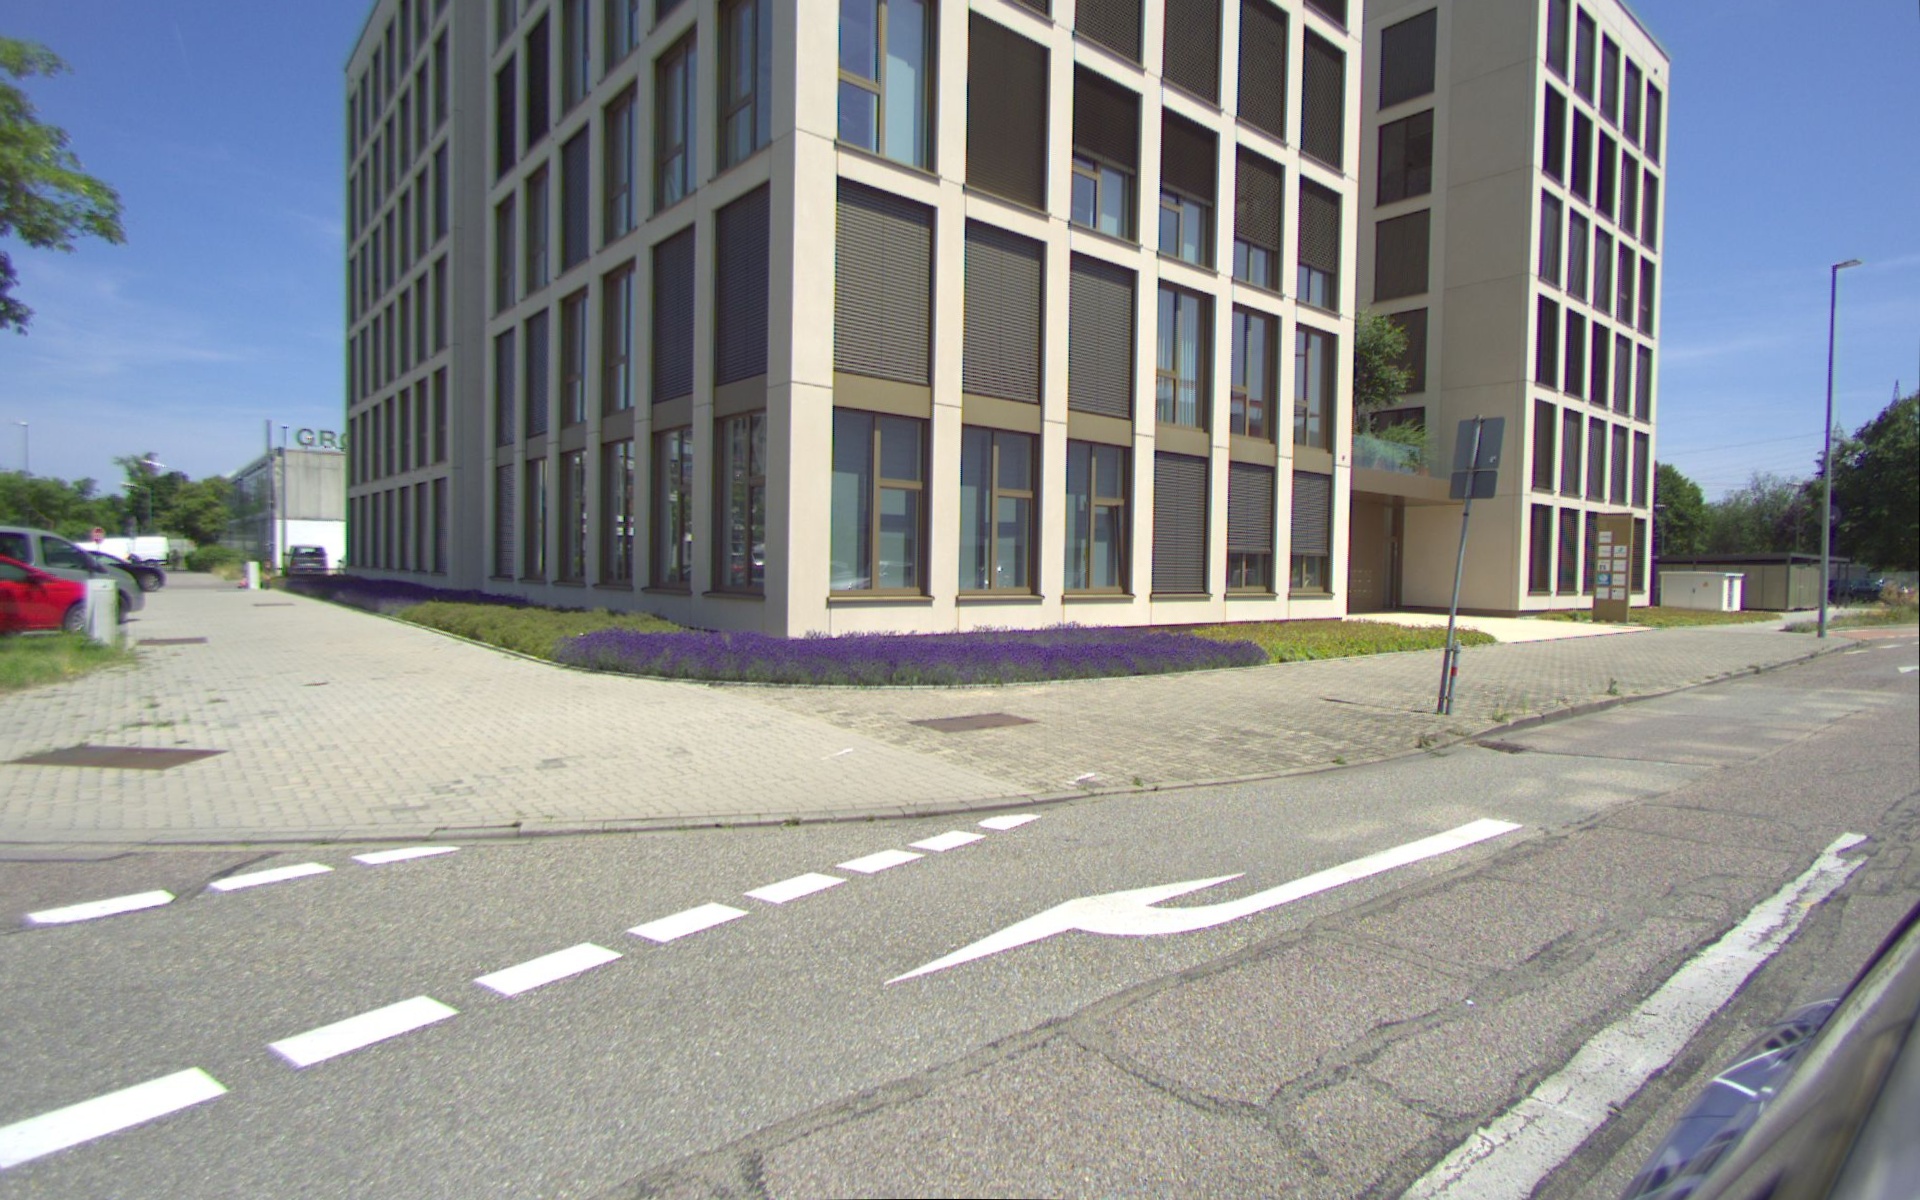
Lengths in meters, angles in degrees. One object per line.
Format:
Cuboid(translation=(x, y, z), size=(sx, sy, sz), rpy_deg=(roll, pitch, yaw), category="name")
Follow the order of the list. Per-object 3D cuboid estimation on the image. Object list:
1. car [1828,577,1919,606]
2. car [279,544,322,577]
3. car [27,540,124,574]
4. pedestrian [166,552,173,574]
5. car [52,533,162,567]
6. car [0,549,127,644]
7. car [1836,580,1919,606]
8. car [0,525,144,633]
Cuboid(translation=(53.683, -0.515, 59.540), size=(3.810, 1.571, 1.716), rpy_deg=(2, 2, 36), category="car")
Cuboid(translation=(-38.089, -2.231, 58.426), size=(1.763, 1.749, 3.997), rpy_deg=(0, 0, -38), category="car")
Cuboid(translation=(-55.156, -2.644, 63.228), size=(4.495, 2.039, 1.997), rpy_deg=(-1, 0, -40), category="car")
Cuboid(translation=(-56.913, -2.694, 72.822), size=(0.397, 1.579, 0.549), rpy_deg=(0, 2, -39), category="pedestrian")
Cuboid(translation=(-67.456, -3.908, 80.211), size=(6.573, 2.552, 2.217), rpy_deg=(-1, 0, -38), category="car")
Cuboid(translation=(-15.477, -0.060, 15.577), size=(1.672, 1.449, 3.990), rpy_deg=(1, 3, 10), category="car")
Cuboid(translation=(55.270, -0.440, 60.767), size=(3.810, 1.411, 1.716), rpy_deg=(2, 2, 36), category="car")
Cuboid(translation=(-17.903, -0.400, 18.418), size=(1.886, 1.910, 4.927), rpy_deg=(1, 1, 5), category="car")
